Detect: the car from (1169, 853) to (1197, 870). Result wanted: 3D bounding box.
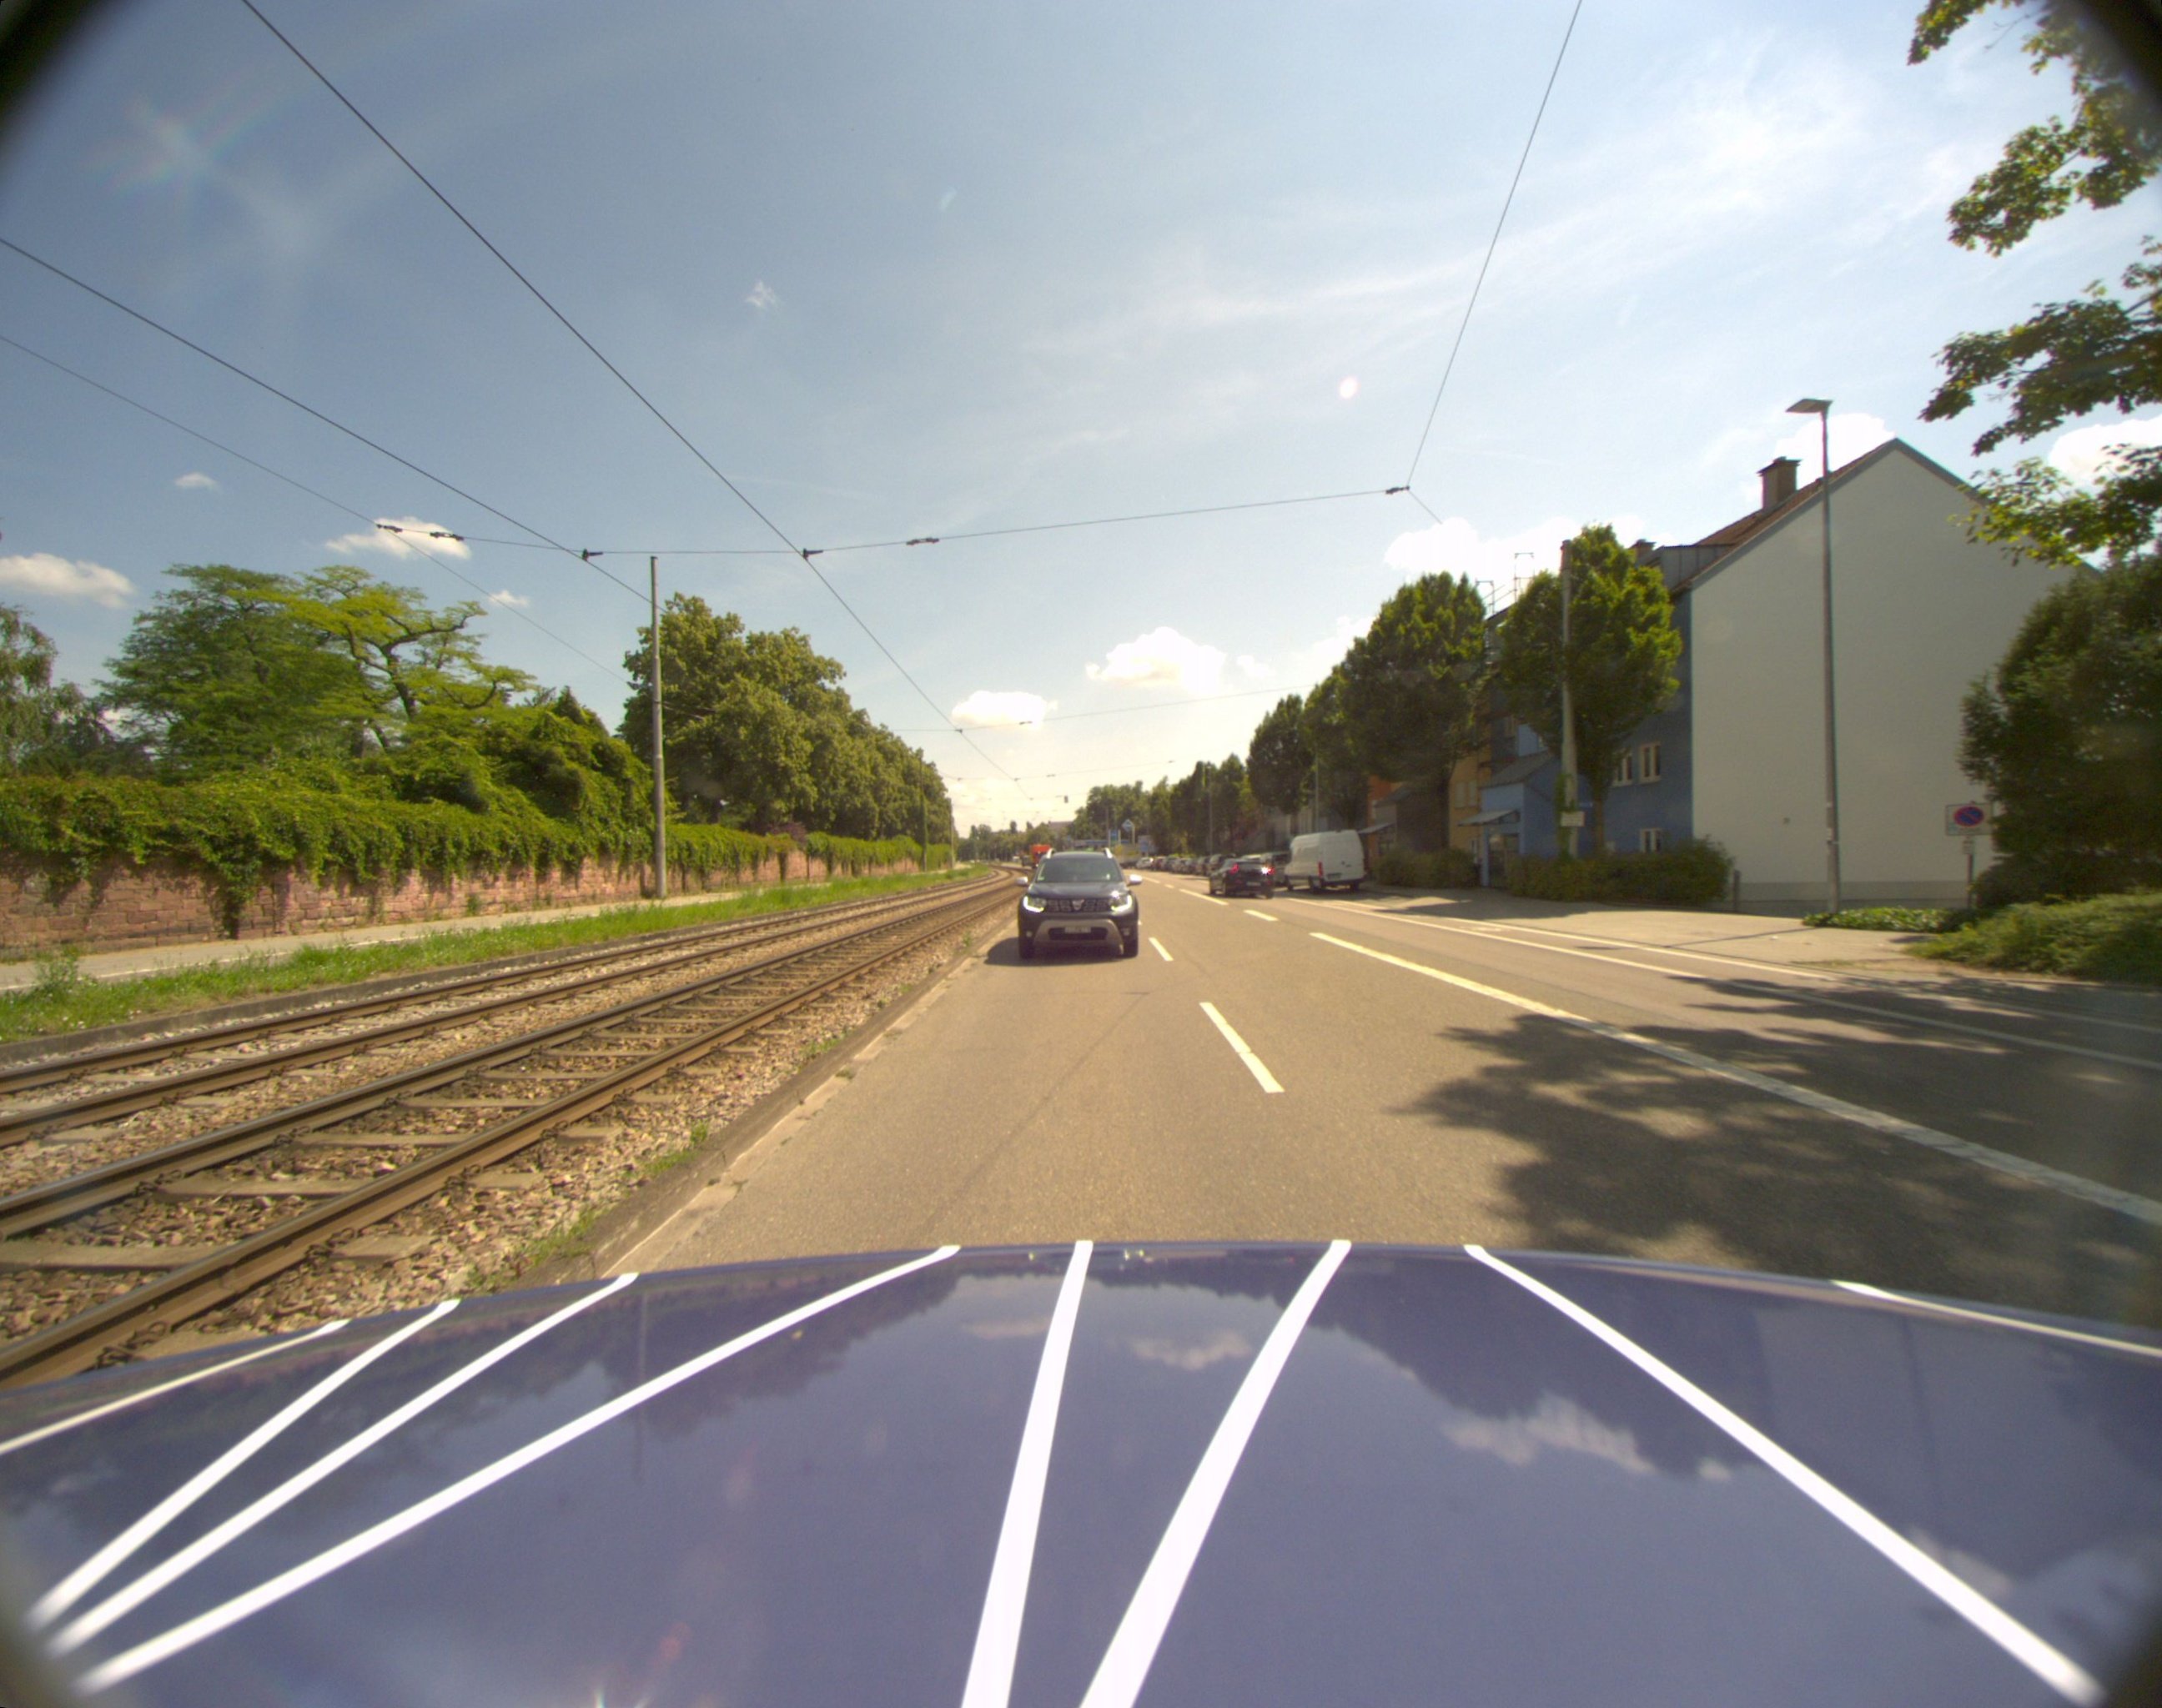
[{"bbox_3d":[10.326,0.695,76.900,1.660,1.499,4.893,-4,1,-5],"label":"car"}]

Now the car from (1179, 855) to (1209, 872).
[{"bbox_3d":[10.507,0.894,70.821,1.746,1.438,4.962,-3,0,-4],"label":"car"}]

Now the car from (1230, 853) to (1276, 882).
[{"bbox_3d":[10.999,0.809,48.909,1.721,1.742,4.903,-2,0,0],"label":"car"}]

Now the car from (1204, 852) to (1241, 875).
[{"bbox_3d":[10.988,0.705,59.235,1.756,1.706,4.887,-1,0,-2],"label":"car"}]

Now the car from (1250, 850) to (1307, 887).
[{"bbox_3d":[11.087,0.759,43.121,1.811,1.884,5.362,-3,0,1],"label":"car"}]

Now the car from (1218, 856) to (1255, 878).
[{"bbox_3d":[11.007,0.880,54.090,1.603,1.462,4.086,-1,0,-2],"label":"car"}]

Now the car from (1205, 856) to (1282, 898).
[{"bbox_3d":[5.925,0.793,28.198,1.779,1.451,4.194,0,0,-3],"label":"car"}]

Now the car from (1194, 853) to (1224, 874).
[{"bbox_3d":[10.873,0.778,64.685,1.660,1.608,4.284,0,1,-2],"label":"car"}]

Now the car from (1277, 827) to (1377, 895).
[{"bbox_3d":[11.128,0.303,35.087,2.329,2.635,7.035,-5,0,2],"label":"car"}]

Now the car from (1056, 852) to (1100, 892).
[{"bbox_3d":[-0.164,0.748,34.136,1.802,1.683,4.144,-1,0,-1],"label":"car"}]

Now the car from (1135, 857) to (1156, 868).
[{"bbox_3d":[8.150,1.081,96.458,1.661,1.402,4.394,-1,0,-8],"label":"car"}]

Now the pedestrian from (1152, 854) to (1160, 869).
[{"bbox_3d":[9.844,1.009,99.647,0.642,1.911,0.710,-1,0,35],"label":"pedestrian"}]

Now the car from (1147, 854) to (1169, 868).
[{"bbox_3d":[8.887,0.779,87.894,1.661,1.600,4.171,-1,0,-8],"label":"car"}]

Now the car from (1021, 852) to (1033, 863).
[{"bbox_3d":[-10.291,0.630,144.978,2.000,2.002,3.996,-2,1,-9],"label":"car"}]

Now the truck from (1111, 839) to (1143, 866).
[{"bbox_3d":[6.510,-0.215,108.399,2.840,3.527,8.165,-3,0,-8],"label":"truck"}]

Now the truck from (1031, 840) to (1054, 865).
[{"bbox_3d":[-5.837,-0.203,115.294,2.847,3.574,8.700,-1,0,-7],"label":"truck"}]

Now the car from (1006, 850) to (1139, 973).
[{"bbox_3d":[0.024,0.809,13.037,1.801,1.652,4.789,-2,0,4],"label":"car"}]

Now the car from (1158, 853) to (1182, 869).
[{"bbox_3d":[9.606,0.749,82.345,1.660,1.600,4.685,-3,0,-5],"label":"car"}]
